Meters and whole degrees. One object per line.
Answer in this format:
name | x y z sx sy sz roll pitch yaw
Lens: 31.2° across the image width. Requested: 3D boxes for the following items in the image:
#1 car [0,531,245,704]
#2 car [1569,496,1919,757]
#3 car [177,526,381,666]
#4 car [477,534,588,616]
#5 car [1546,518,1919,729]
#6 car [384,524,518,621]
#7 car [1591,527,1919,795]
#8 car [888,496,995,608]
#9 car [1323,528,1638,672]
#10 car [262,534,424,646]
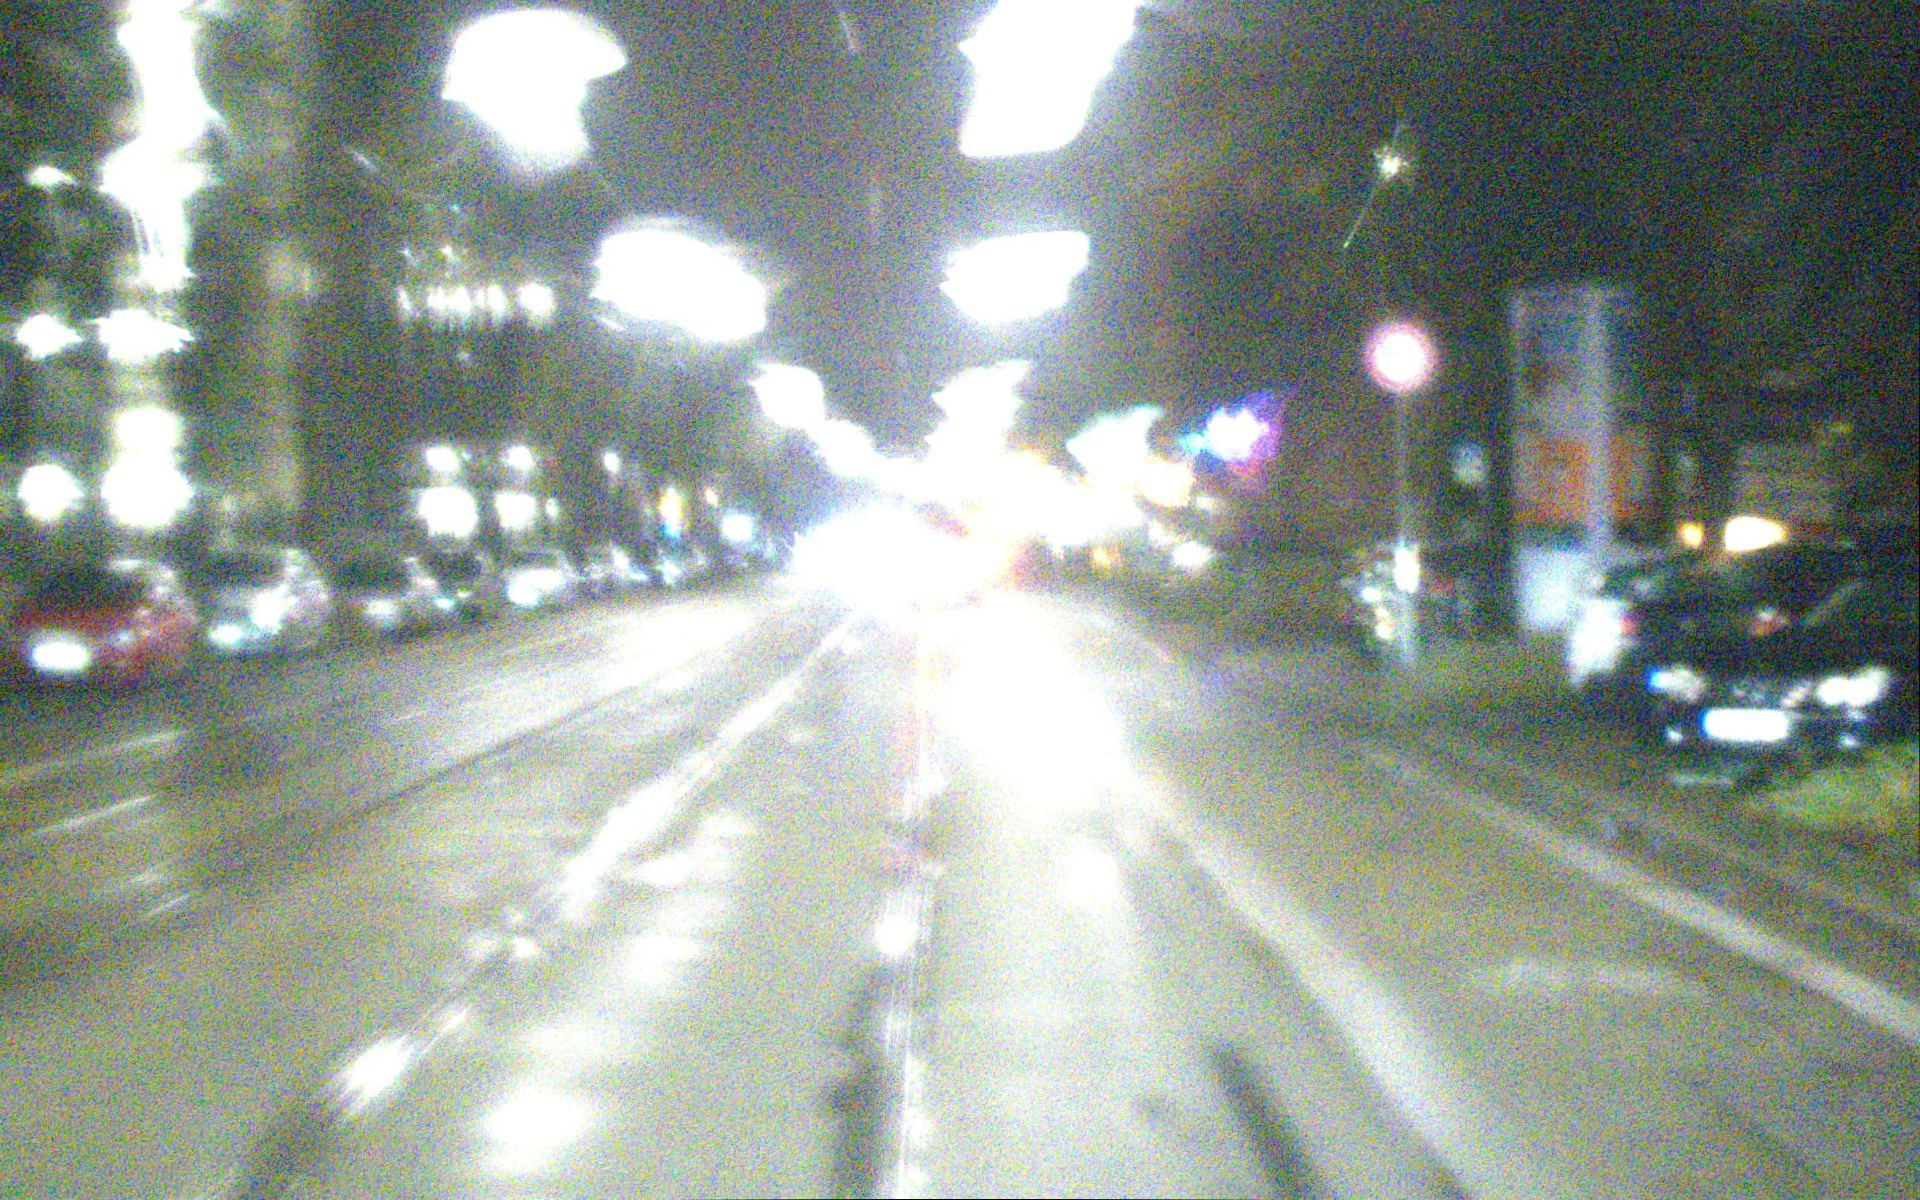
car | -9.590 0.160 38.949 2.108 1.758 4.966 2 0 -3
car | 6.496 0.173 24.902 2.029 1.692 4.237 3 1 44
car | -9.366 -0.064 47.588 1.999 1.779 4.000 2 0 -1
car | -9.753 -0.563 78.703 2.022 1.755 4.000 2 0 -1
car | 6.749 0.180 28.124 1.909 1.567 3.952 3 1 44
car | -9.943 -0.534 67.378 2.022 1.755 4.000 2 0 -1
car | 5.964 0.342 21.187 4.237 1.449 1.950 1 1 -44
car | -0.464 -1.105 77.887 2.216 2.433 5.385 1 1 -2
car | 6.180 0.001 40.539 1.909 1.567 3.953 2 1 39
car | -10.399 -0.177 58.245 2.022 1.755 4.000 2 0 -1
